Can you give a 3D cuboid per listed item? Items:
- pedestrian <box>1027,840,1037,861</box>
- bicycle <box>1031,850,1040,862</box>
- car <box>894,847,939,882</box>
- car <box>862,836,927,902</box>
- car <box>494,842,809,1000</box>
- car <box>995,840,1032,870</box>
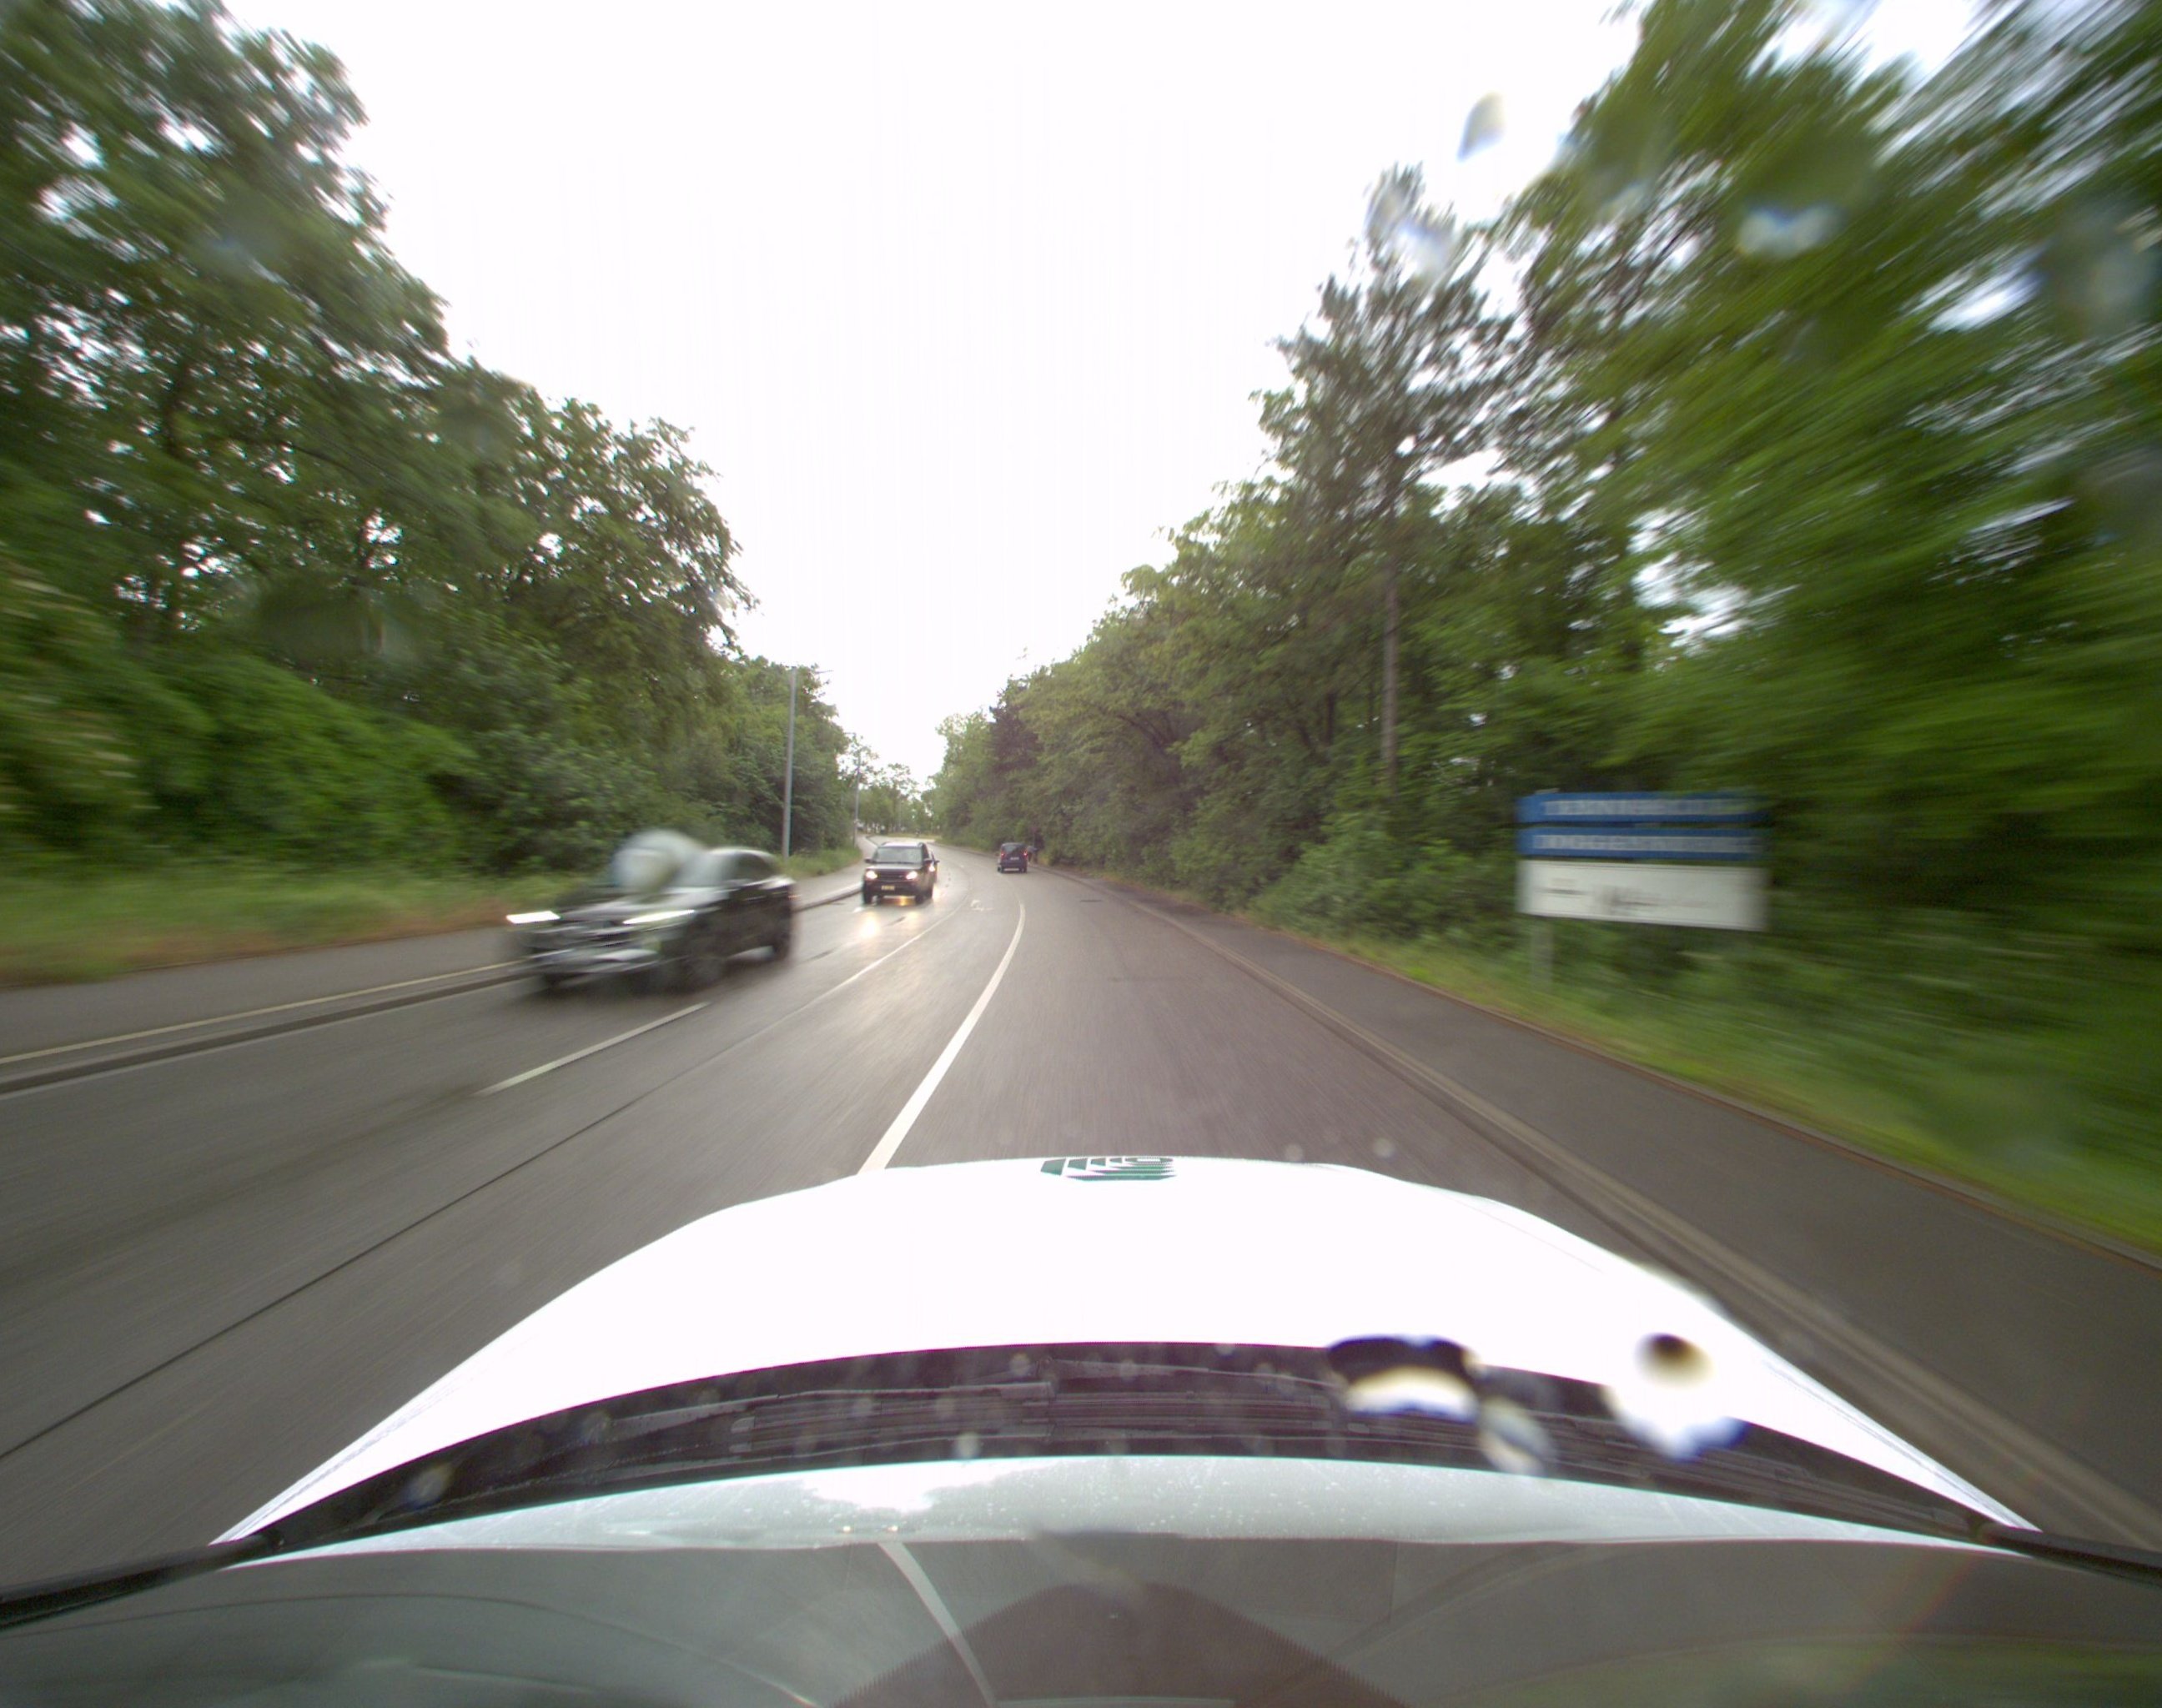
[{"bbox_3d":[-3.742,-0.281,62.005,0.565,1.577,0.766,-1,-1,-15],"label":"pedestrian"},{"bbox_3d":[-3.442,0.153,61.407,0.356,0.848,1.734,-2,3,-15],"label":"bicycle"},{"bbox_3d":[-8.089,0.463,40.321,1.825,1.440,3.992,1,3,-7],"label":"car"},{"bbox_3d":[-6.075,0.396,26.976,1.828,1.842,4.695,-2,3,-10],"label":"car"},{"bbox_3d":[-5.144,0.688,10.600,1.804,1.595,4.514,1,0,-2],"label":"car"},{"bbox_3d":[-4.305,0.070,51.621,1.828,1.794,3.983,0,0,-12],"label":"car"}]
